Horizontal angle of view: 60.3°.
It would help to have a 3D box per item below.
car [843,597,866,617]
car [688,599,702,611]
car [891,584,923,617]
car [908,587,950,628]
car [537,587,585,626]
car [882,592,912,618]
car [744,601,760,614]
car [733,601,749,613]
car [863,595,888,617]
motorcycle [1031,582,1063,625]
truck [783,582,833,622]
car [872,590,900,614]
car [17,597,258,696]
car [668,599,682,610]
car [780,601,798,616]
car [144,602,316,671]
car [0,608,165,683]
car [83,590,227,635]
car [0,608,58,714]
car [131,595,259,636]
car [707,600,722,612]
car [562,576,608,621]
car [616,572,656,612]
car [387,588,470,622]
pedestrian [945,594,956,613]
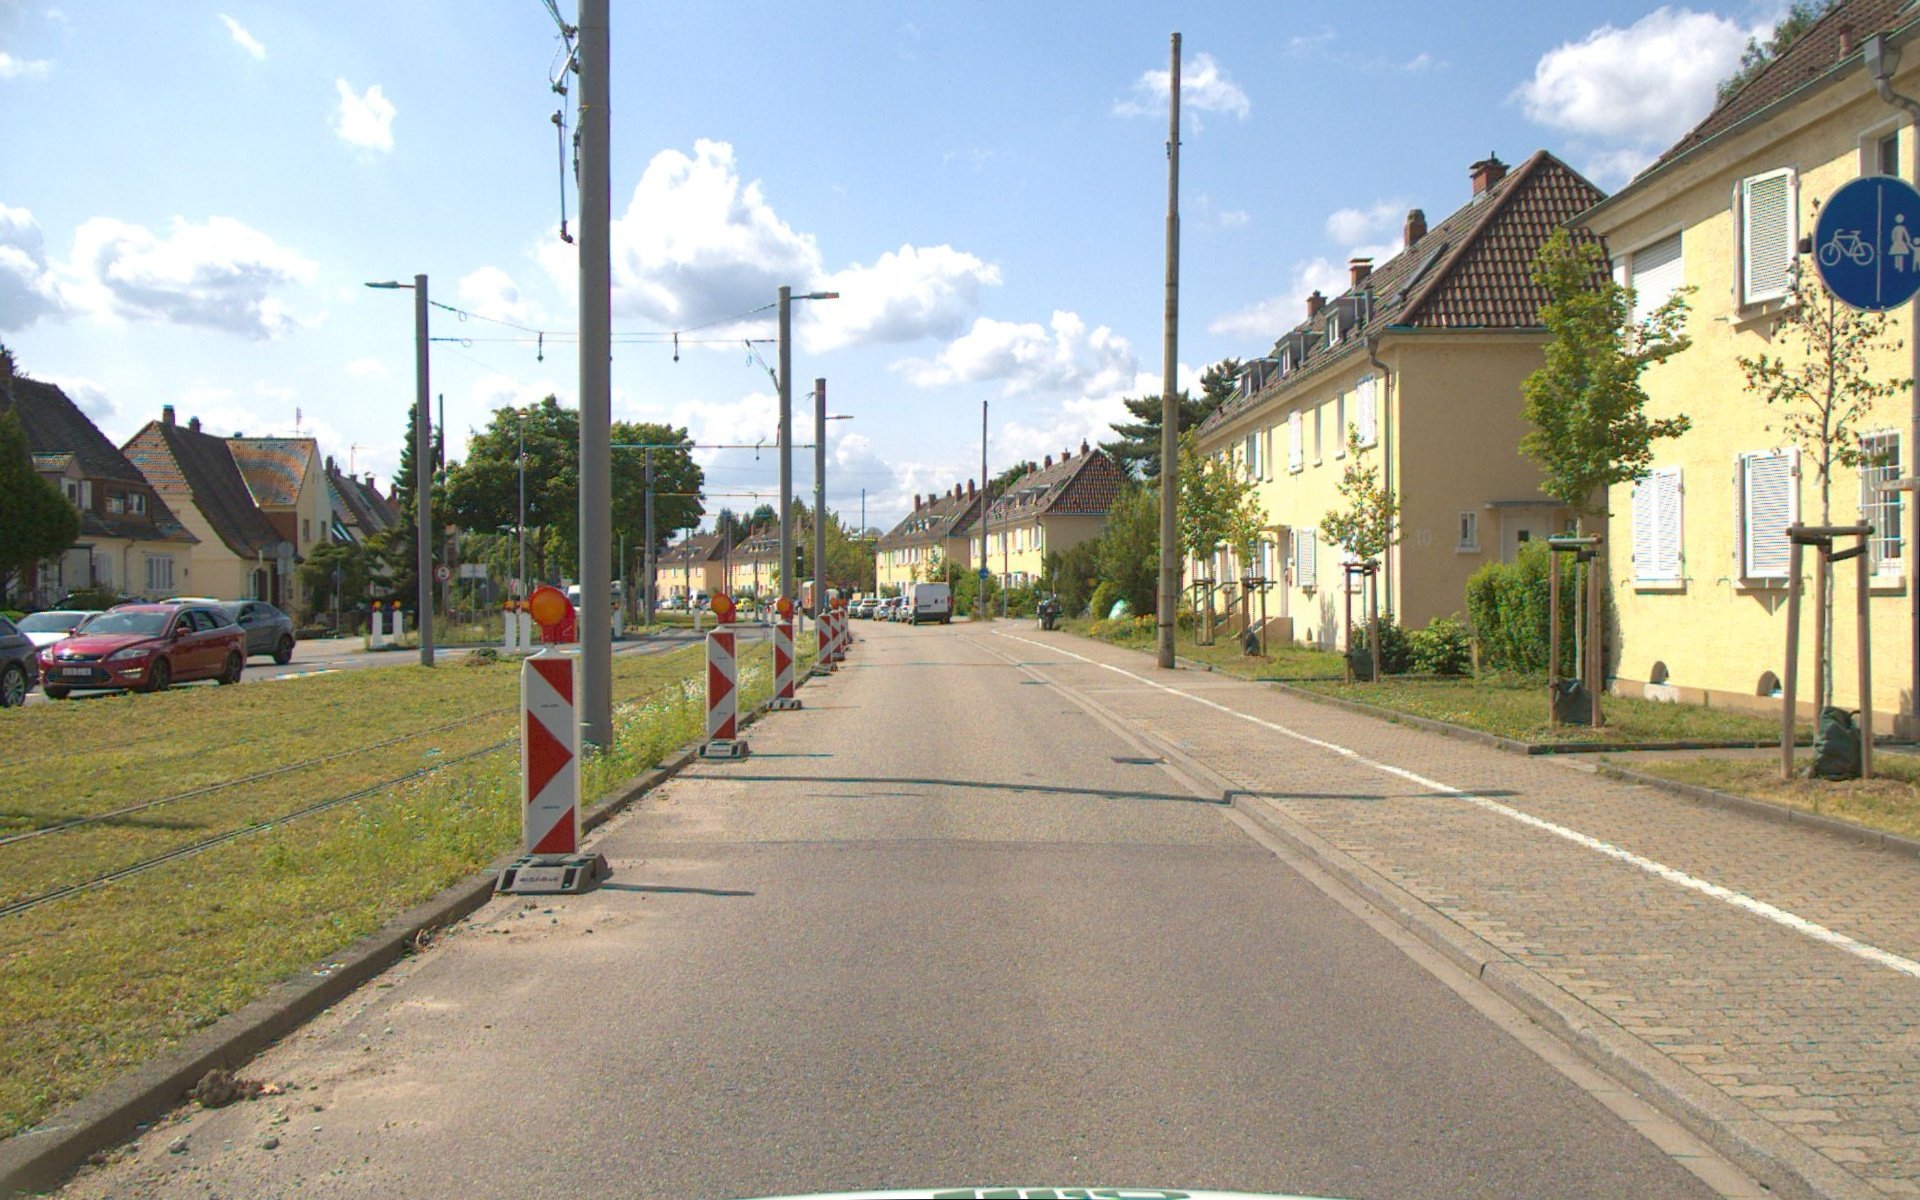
[{"bbox_3d":[-8.247,0.544,129.218,1.538,1.578,3.472,-1,0,-8],"label":"car"},{"bbox_3d":[-33.462,0.648,208.885,1.150,1.451,2.647,0,0,-22],"label":"car"},{"bbox_3d":[-3.211,0.031,100.302,1.538,1.930,3.782,0,0,-8],"label":"car"},{"bbox_3d":[-1.746,0.403,90.832,2.025,2.187,4.874,0,0,-4],"label":"car"},{"bbox_3d":[-19.125,0.289,79.417,2.057,1.807,4.109,0,0,-12],"label":"car"},{"bbox_3d":[-4.017,0.308,105.500,1.538,1.579,3.782,0,0,-8],"label":"car"},{"bbox_3d":[-23.237,0.859,185.090,1.239,1.451,2.650,0,0,-19],"label":"car"},{"bbox_3d":[-25.094,0.795,189.673,1.239,1.451,2.648,0,0,-21],"label":"car"},{"bbox_3d":[-6.298,0.461,123.008,1.538,1.579,3.472,0,0,-8],"label":"car"},{"bbox_3d":[3.406,0.137,64.960,1.045,1.664,2.082,0,0,-3],"label":"motorcycle"},{"bbox_3d":[-14.069,0.230,152.525,2.599,3.555,9.389,0,0,-18],"label":"truck"},{"bbox_3d":[-4.989,0.141,111.082,1.538,1.579,3.782,0,0,-8],"label":"car"},{"bbox_3d":[-13.896,0.730,28.304,1.806,1.520,4.855,0,0,-1],"label":"car"},{"bbox_3d":[-37.767,0.547,219.294,1.240,1.451,2.646,0,0,-23],"label":"car"},{"bbox_3d":[-17.079,0.811,164.889,1.238,1.451,2.651,0,0,-18],"label":"car"},{"bbox_3d":[-17.633,0.839,40.222,1.804,1.561,4.740,0,0,4],"label":"car"},{"bbox_3d":[-17.899,0.851,32.969,1.805,1.366,4.778,0,0,0],"label":"car"},{"bbox_3d":[-28.011,0.434,57.641,4.024,1.492,1.990,-1,0,-2],"label":"car"},{"bbox_3d":[-13.879,0.837,21.479,1.806,1.438,4.914,0,0,-3],"label":"car"},{"bbox_3d":[-28.272,0.573,61.200,3.907,1.422,1.704,1,0,-2],"label":"car"},{"bbox_3d":[-29.761,0.724,200.570,1.240,1.374,2.648,0,0,-21],"label":"car"},{"bbox_3d":[-20.550,-0.091,90.788,2.364,2.379,4.865,0,0,-12],"label":"car"},{"bbox_3d":[-20.175,-0.493,102.985,2.364,2.412,4.865,0,0,-12],"label":"car"},{"bbox_3d":[-29.468,0.280,91.809,4.028,1.807,2.099,0,0,-6],"label":"car"},{"bbox_3d":[-0.631,0.247,112.475,0.620,1.277,0.725,0,0,-10],"label":"pedestrian"}]
